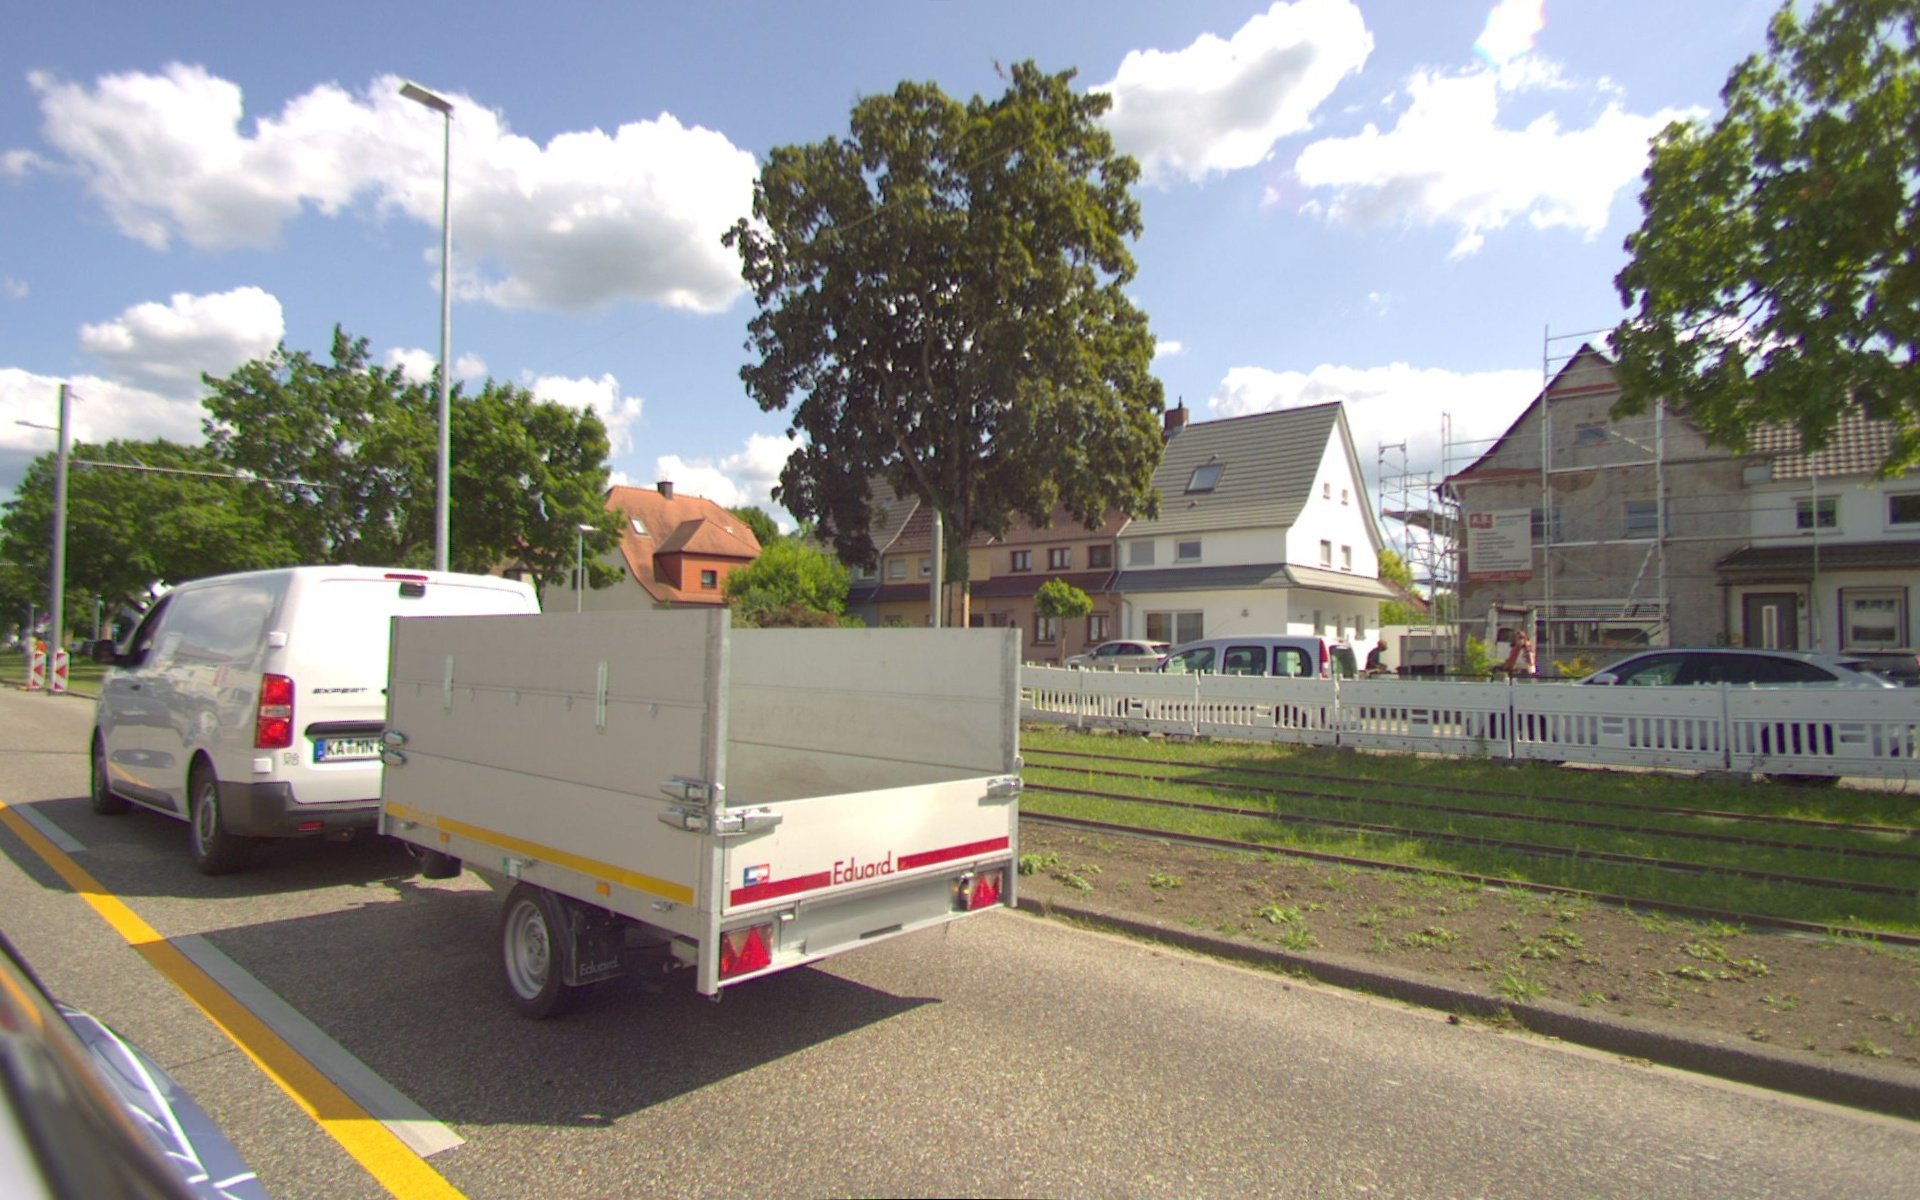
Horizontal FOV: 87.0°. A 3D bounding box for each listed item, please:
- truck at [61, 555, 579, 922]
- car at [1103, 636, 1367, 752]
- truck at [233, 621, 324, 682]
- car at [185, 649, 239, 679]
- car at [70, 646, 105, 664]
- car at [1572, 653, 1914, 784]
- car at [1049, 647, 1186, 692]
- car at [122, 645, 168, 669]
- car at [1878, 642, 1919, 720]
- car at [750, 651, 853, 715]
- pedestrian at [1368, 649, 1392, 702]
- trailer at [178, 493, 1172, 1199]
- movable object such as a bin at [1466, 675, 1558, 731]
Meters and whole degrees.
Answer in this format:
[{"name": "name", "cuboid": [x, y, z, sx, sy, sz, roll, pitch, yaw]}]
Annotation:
[{"name": "truck", "cuboid": [-5.103, 0.819, 7.700, 5.113, 1.924, 1.801, -1, -5, 41]}, {"name": "car", "cuboid": [4.444, 1.460, 16.642, 3.897, 1.664, 1.605, -1, -4, 41]}, {"name": "truck", "cuboid": [-33.849, 2.467, 50.180, 5.948, 2.826, 2.340, -2, -1, 41]}, {"name": "car", "cuboid": [-41.990, 3.583, 56.791, 3.929, 1.524, 1.651, -2, -1, 41]}, {"name": "car", "cuboid": [-71.505, 4.492, 82.904, 3.998, 1.311, 1.615, -1, -1, 41]}, {"name": "car", "cuboid": [9.398, 1.362, 12.327, 3.112, 1.388, 1.336, -3, -5, 41]}, {"name": "car", "cuboid": [4.935, 2.172, 32.101, 4.118, 1.285, 1.518, -1, -4, 41]}, {"name": "car", "cuboid": [-55.304, 3.845, 68.650, 4.522, 1.524, 1.685, -1, -1, 41]}, {"name": "car", "cuboid": [19.102, 1.570, 20.035, 1.286, 1.390, 2.776, -2, -1, 43]}, {"name": "car", "cuboid": [-3.672, 1.887, 23.316, 2.450, 1.358, 1.060, -2, -4, 45]}, {"name": "pedestrian", "cuboid": [11.347, 2.033, 27.339, 0.471, 1.387, 0.418, -1, -1, 40]}, {"name": "trailer", "cuboid": [-1.895, 0.777, 5.058, 5.482, 1.849, 2.041, -1, -5, 41]}, {"name": "movable object such as a bin", "cuboid": [13.572, 2.517, 24.969, 1.441, 1.207, 1.892, -1, -1, 11]}]
